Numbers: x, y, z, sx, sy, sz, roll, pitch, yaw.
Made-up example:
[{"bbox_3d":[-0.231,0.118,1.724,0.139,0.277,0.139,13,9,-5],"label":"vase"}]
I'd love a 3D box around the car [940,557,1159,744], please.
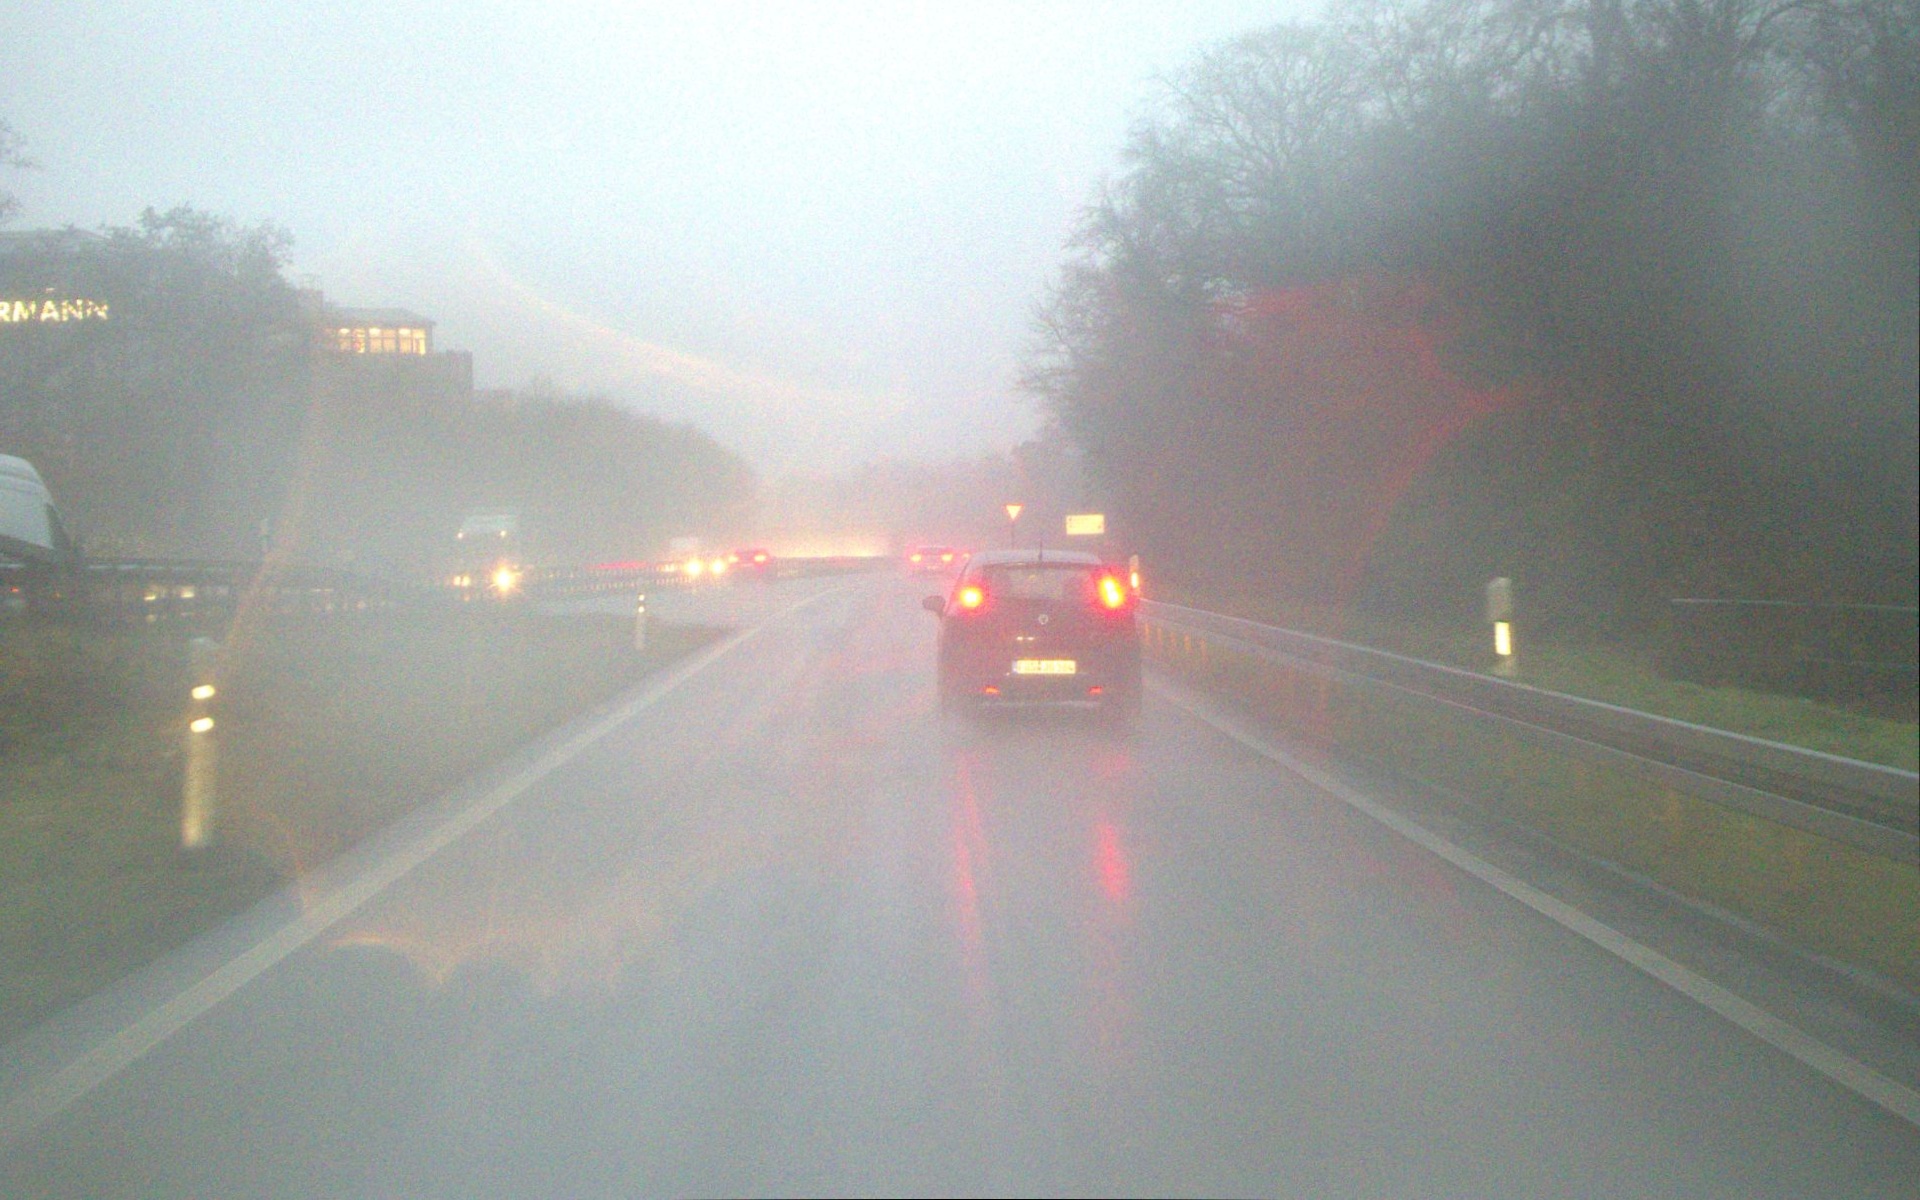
[{"bbox_3d":[0.752,0.396,30.462,1.732,1.424,3.765,4,1,0],"label":"car"}]

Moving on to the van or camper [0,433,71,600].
[{"bbox_3d":[-14.903,-1.205,49.853,2.268,2.405,5.579,0,1,4],"label":"van or camper"}]
